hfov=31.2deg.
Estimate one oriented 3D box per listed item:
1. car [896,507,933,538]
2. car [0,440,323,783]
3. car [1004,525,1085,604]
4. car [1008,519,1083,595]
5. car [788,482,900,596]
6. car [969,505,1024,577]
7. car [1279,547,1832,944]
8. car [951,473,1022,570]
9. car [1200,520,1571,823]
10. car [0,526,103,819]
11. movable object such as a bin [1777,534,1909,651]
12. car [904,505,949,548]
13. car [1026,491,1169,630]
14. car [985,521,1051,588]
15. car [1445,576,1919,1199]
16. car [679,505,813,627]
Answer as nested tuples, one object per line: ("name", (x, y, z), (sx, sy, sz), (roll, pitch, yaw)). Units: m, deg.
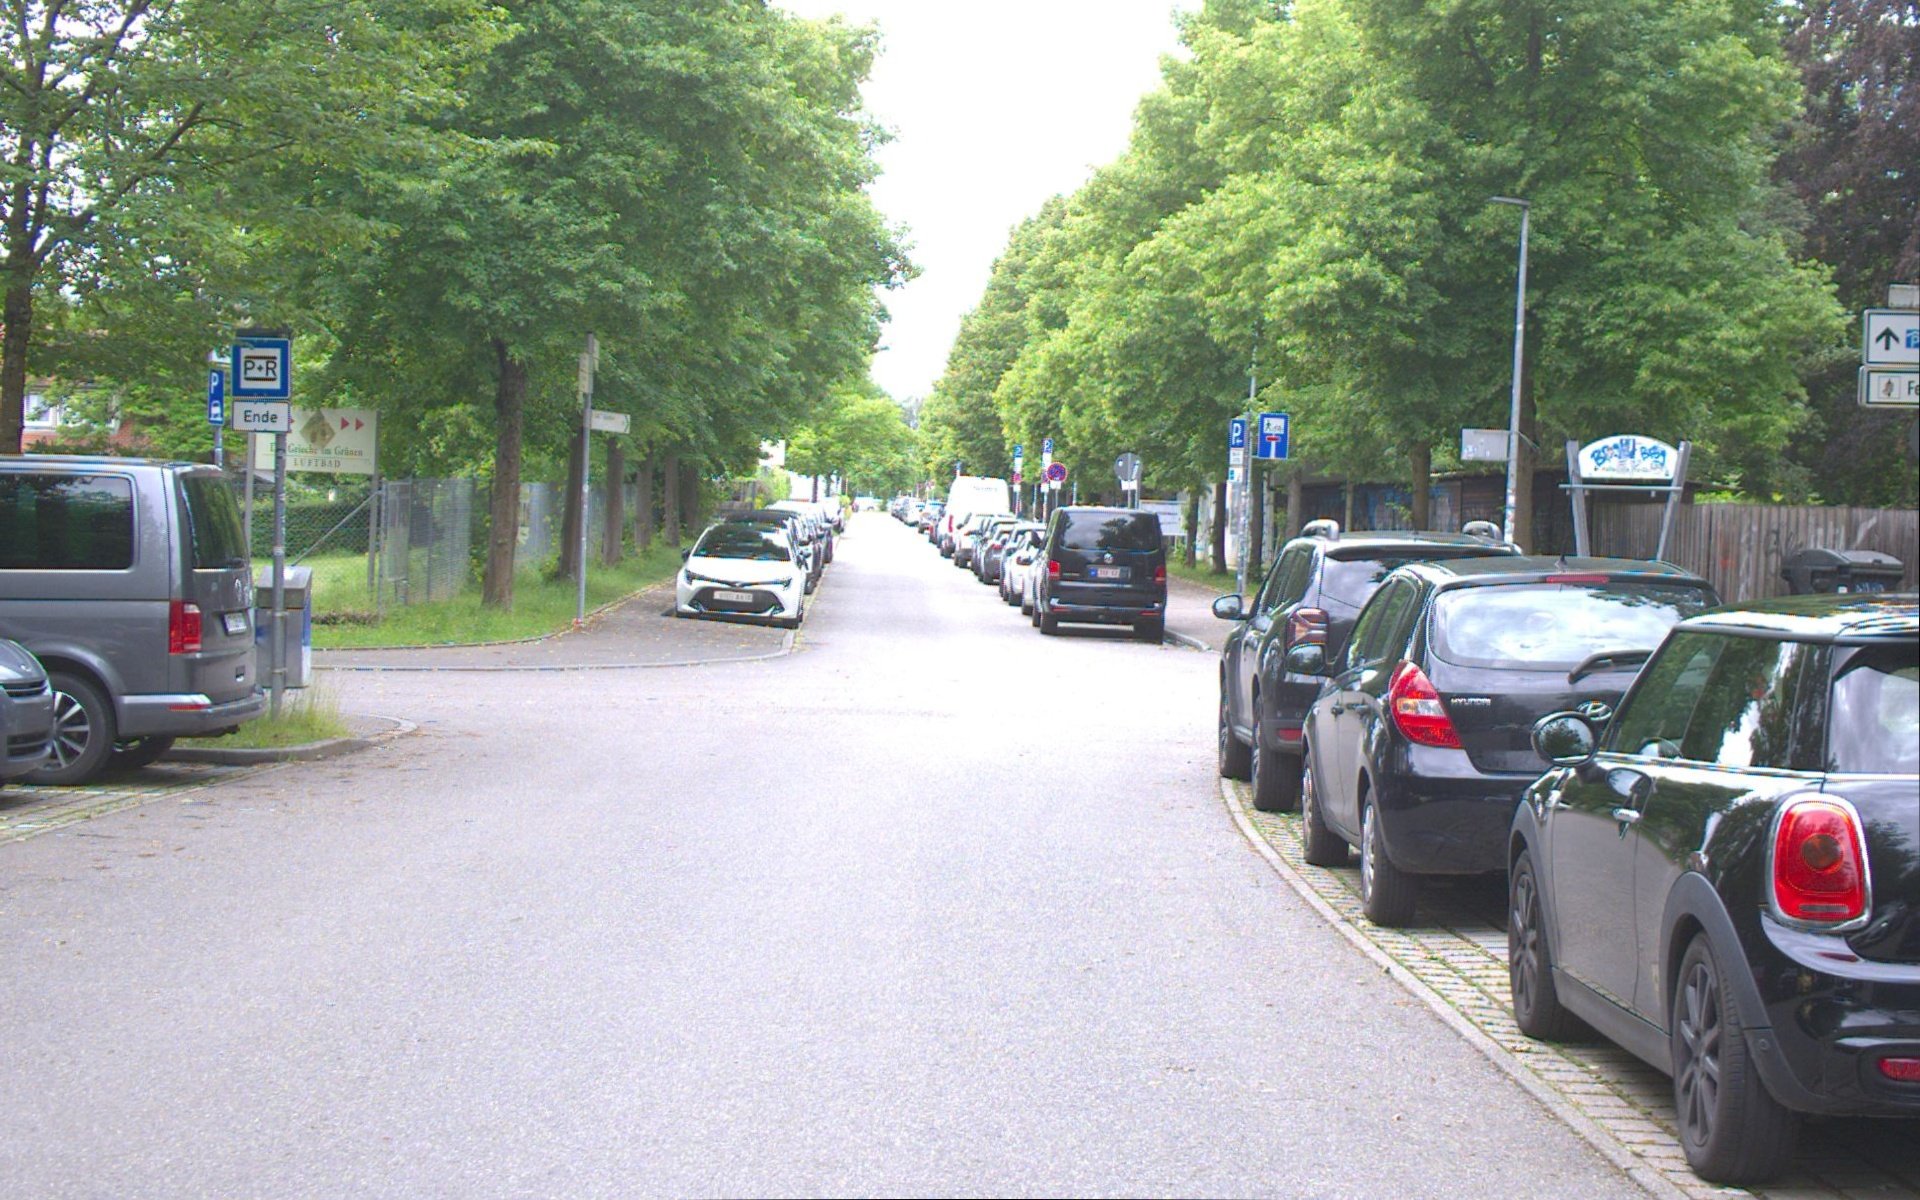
("car", (-2.696, -4.609, 204.223), (1.898, 1.700, 4.063), (1, 0, 2))
("car", (-6.309, 0.036, 20.966), (4.502, 1.971, 1.891), (1, 0, -2))
("car", (1.624, -0.713, 66.993), (1.469, 1.476, 3.189), (1, 1, 0))
("car", (1.783, -0.928, 72.325), (1.469, 1.526, 3.189), (1, 1, 0))
("car", (-2.158, -1.155, 64.616), (1.993, 2.007, 4.000), (2, 1, -1))
("car", (1.018, -1.678, 97.055), (1.469, 1.961, 3.189), (1, 1, 0))
("car", (2.487, 0.526, 15.343), (1.736, 1.489, 4.234), (1, 1, 1))
("car", (0.828, -2.530, 110.559), (2.184, 3.005, 4.897), (1, 1, 0))
("car", (2.488, 0.360, 21.072), (1.736, 1.628, 4.375), (1, 1, 1))
("car", (-6.829, 0.343, 18.784), (3.814, 1.507, 1.809), (1, 1, 2))
("movable object such as a bin", (11.129, -0.093, 43.304), (1.282, 1.437, 1.078), (1, 0, -45))
("car", (-1.637, -3.636, 170.731), (1.994, 2.007, 4.000), (1, 0, 2))
("car", (2.068, -0.630, 52.711), (1.988, 2.007, 4.108), (1, 1, 0))
("car", (1.358, -1.091, 80.967), (1.469, 1.526, 3.189), (1, 1, 0))
("car", (2.584, 0.684, 9.931), (1.736, 1.427, 4.502), (1, 1, 1))
("car", (-3.117, -0.522, 50.017), (1.765, 1.590, 4.217), (4, 1, -4))
